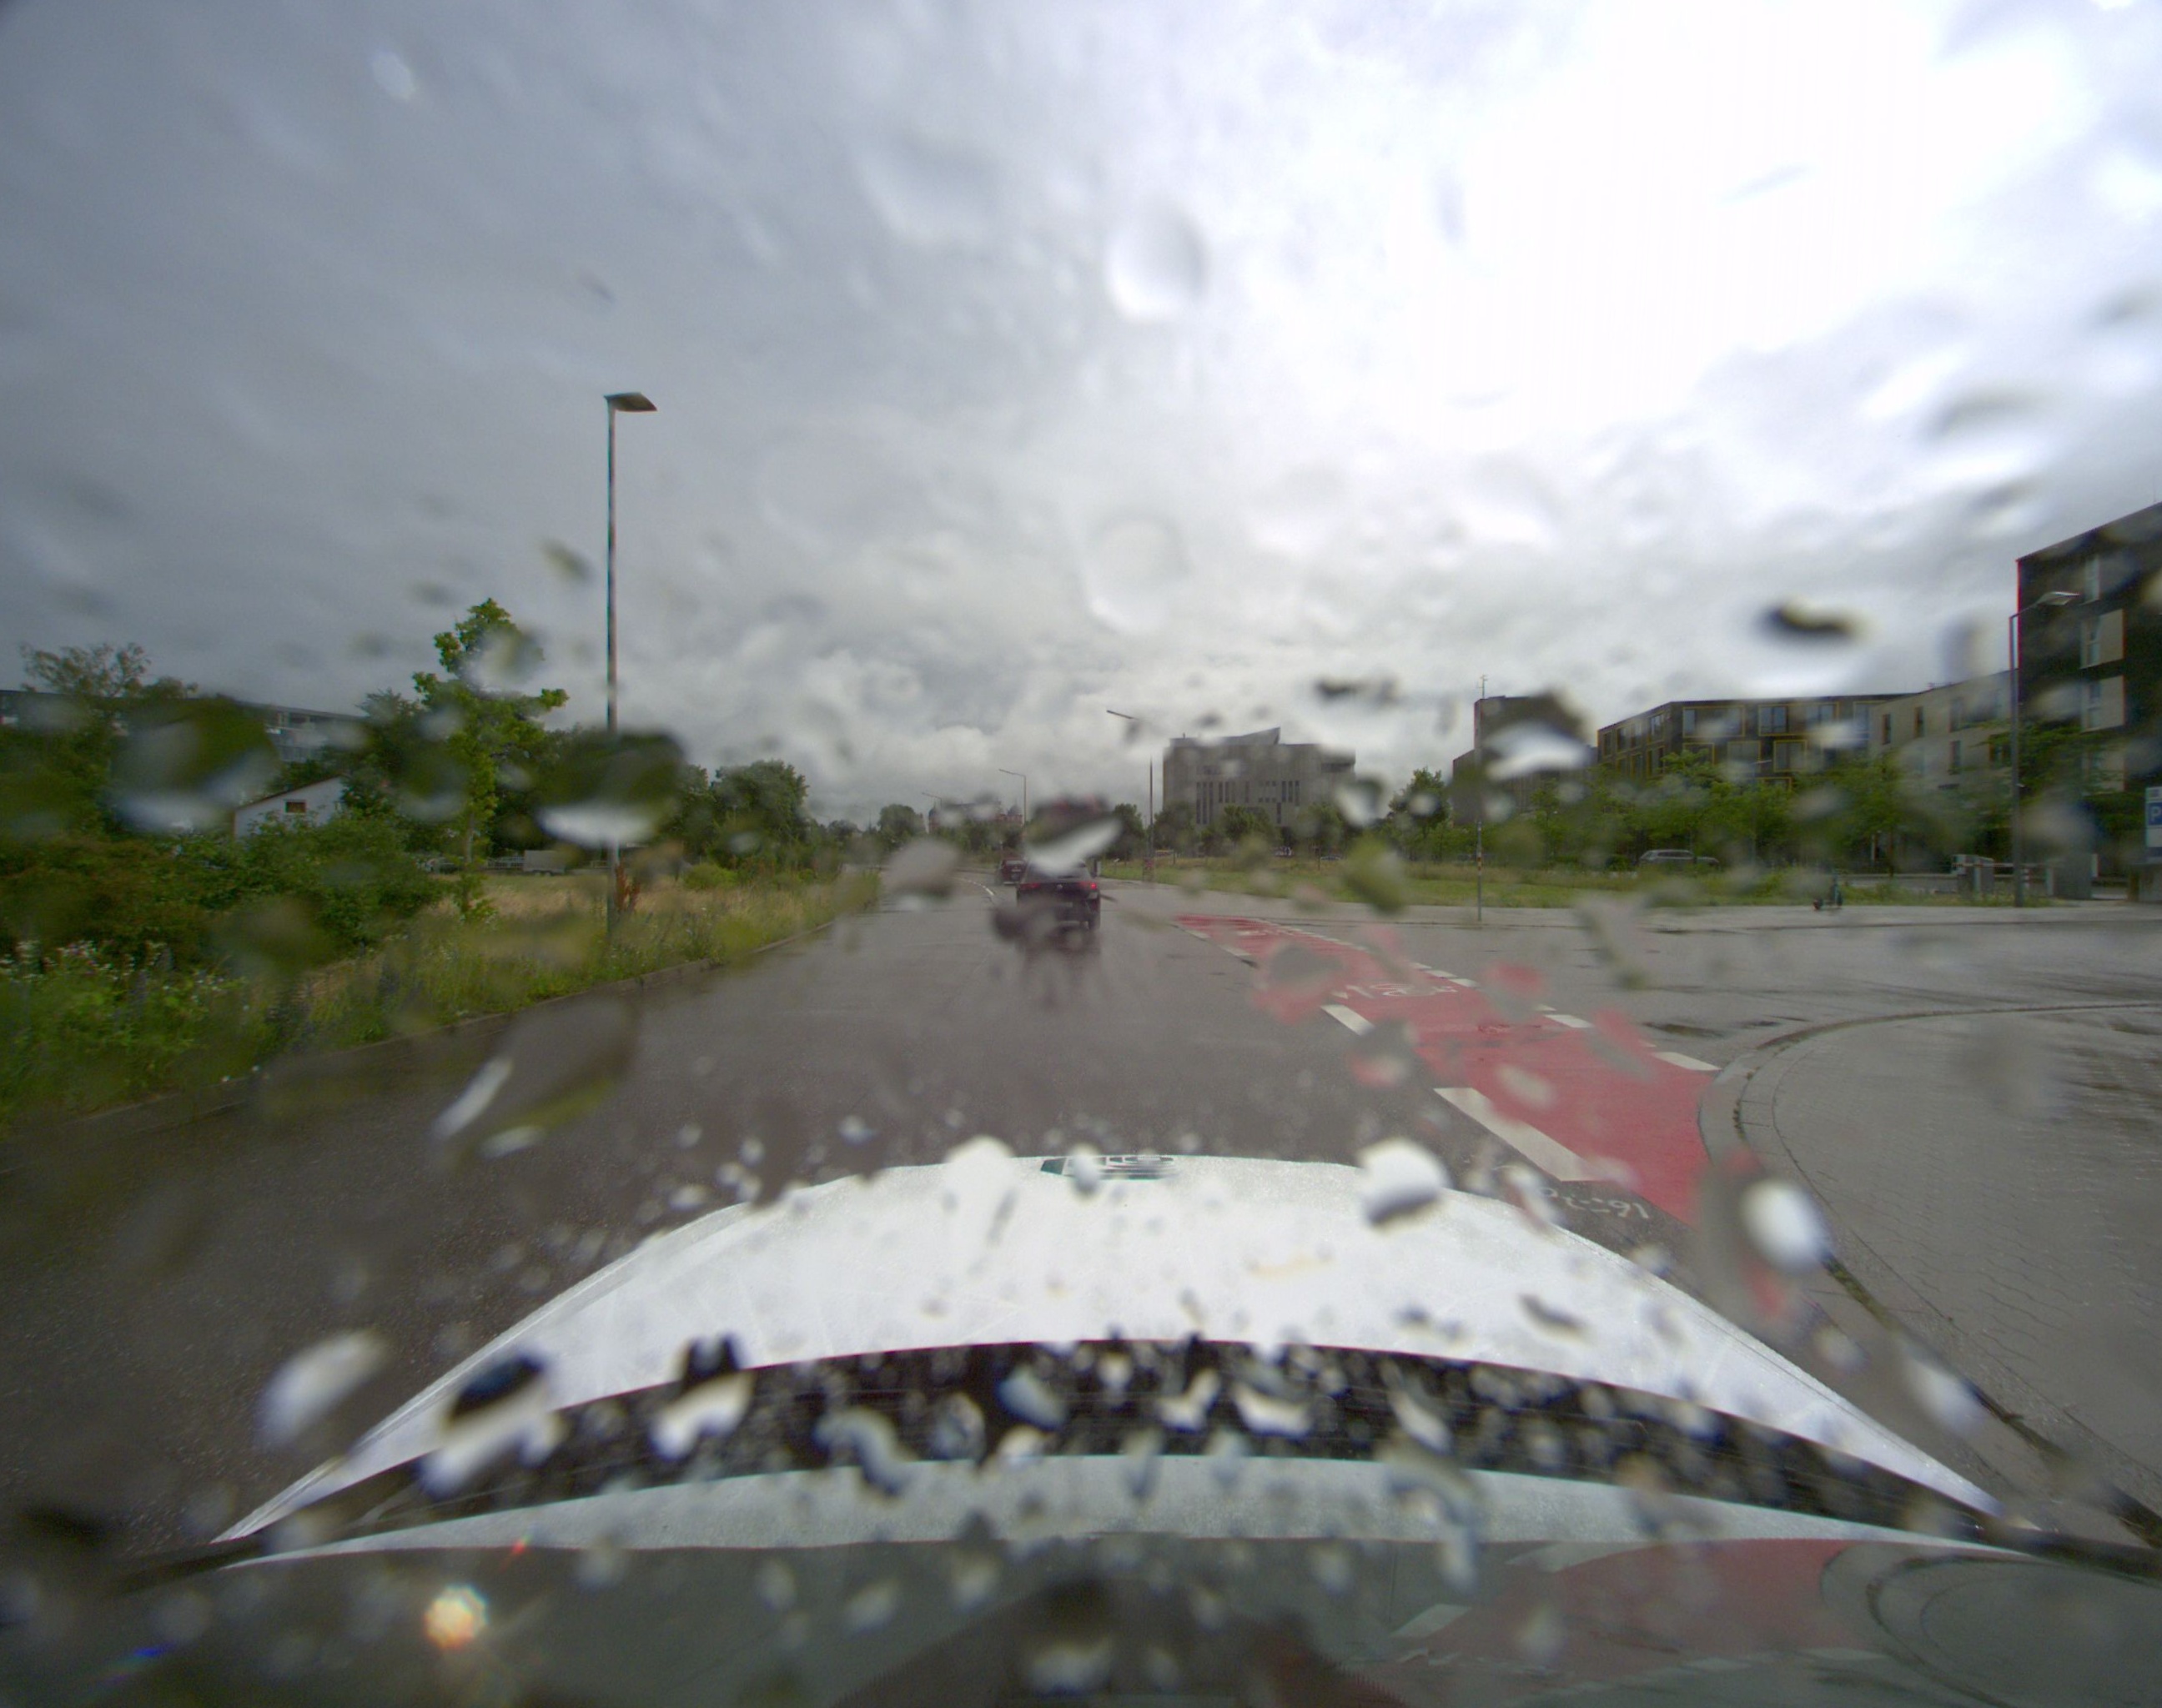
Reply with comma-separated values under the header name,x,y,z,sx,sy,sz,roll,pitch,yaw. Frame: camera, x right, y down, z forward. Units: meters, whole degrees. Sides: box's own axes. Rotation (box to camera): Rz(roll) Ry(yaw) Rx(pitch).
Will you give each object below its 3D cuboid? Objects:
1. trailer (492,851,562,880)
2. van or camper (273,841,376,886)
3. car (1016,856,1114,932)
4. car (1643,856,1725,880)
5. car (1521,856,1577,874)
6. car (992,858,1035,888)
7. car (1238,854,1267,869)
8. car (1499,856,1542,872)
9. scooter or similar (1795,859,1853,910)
name,x,y,z,sx,sy,sz,roll,pitch,yaw
trailer,-41.290,0.876,60.792,4.124,2.089,1.827,2,-1,-29
van or camper,-50.820,0.625,54.831,4.525,2.946,2.462,0,0,-27
car,-0.484,0.808,18.529,1.984,1.520,3.993,0,0,-5
car,41.366,0.974,55.938,4.173,1.557,1.674,-1,-1,16
car,46.337,1.069,80.735,4.508,1.762,2.008,0,0,16
car,-3.696,1.010,44.038,1.842,1.442,3.985,-2,0,-11
car,23.949,1.033,113.645,3.664,2.014,2.011,0,-1,22
car,48.994,1.127,90.765,3.956,1.721,1.777,0,-1,16
scooter or similar,18.379,0.744,20.148,1.283,1.187,0.500,-1,1,-18
